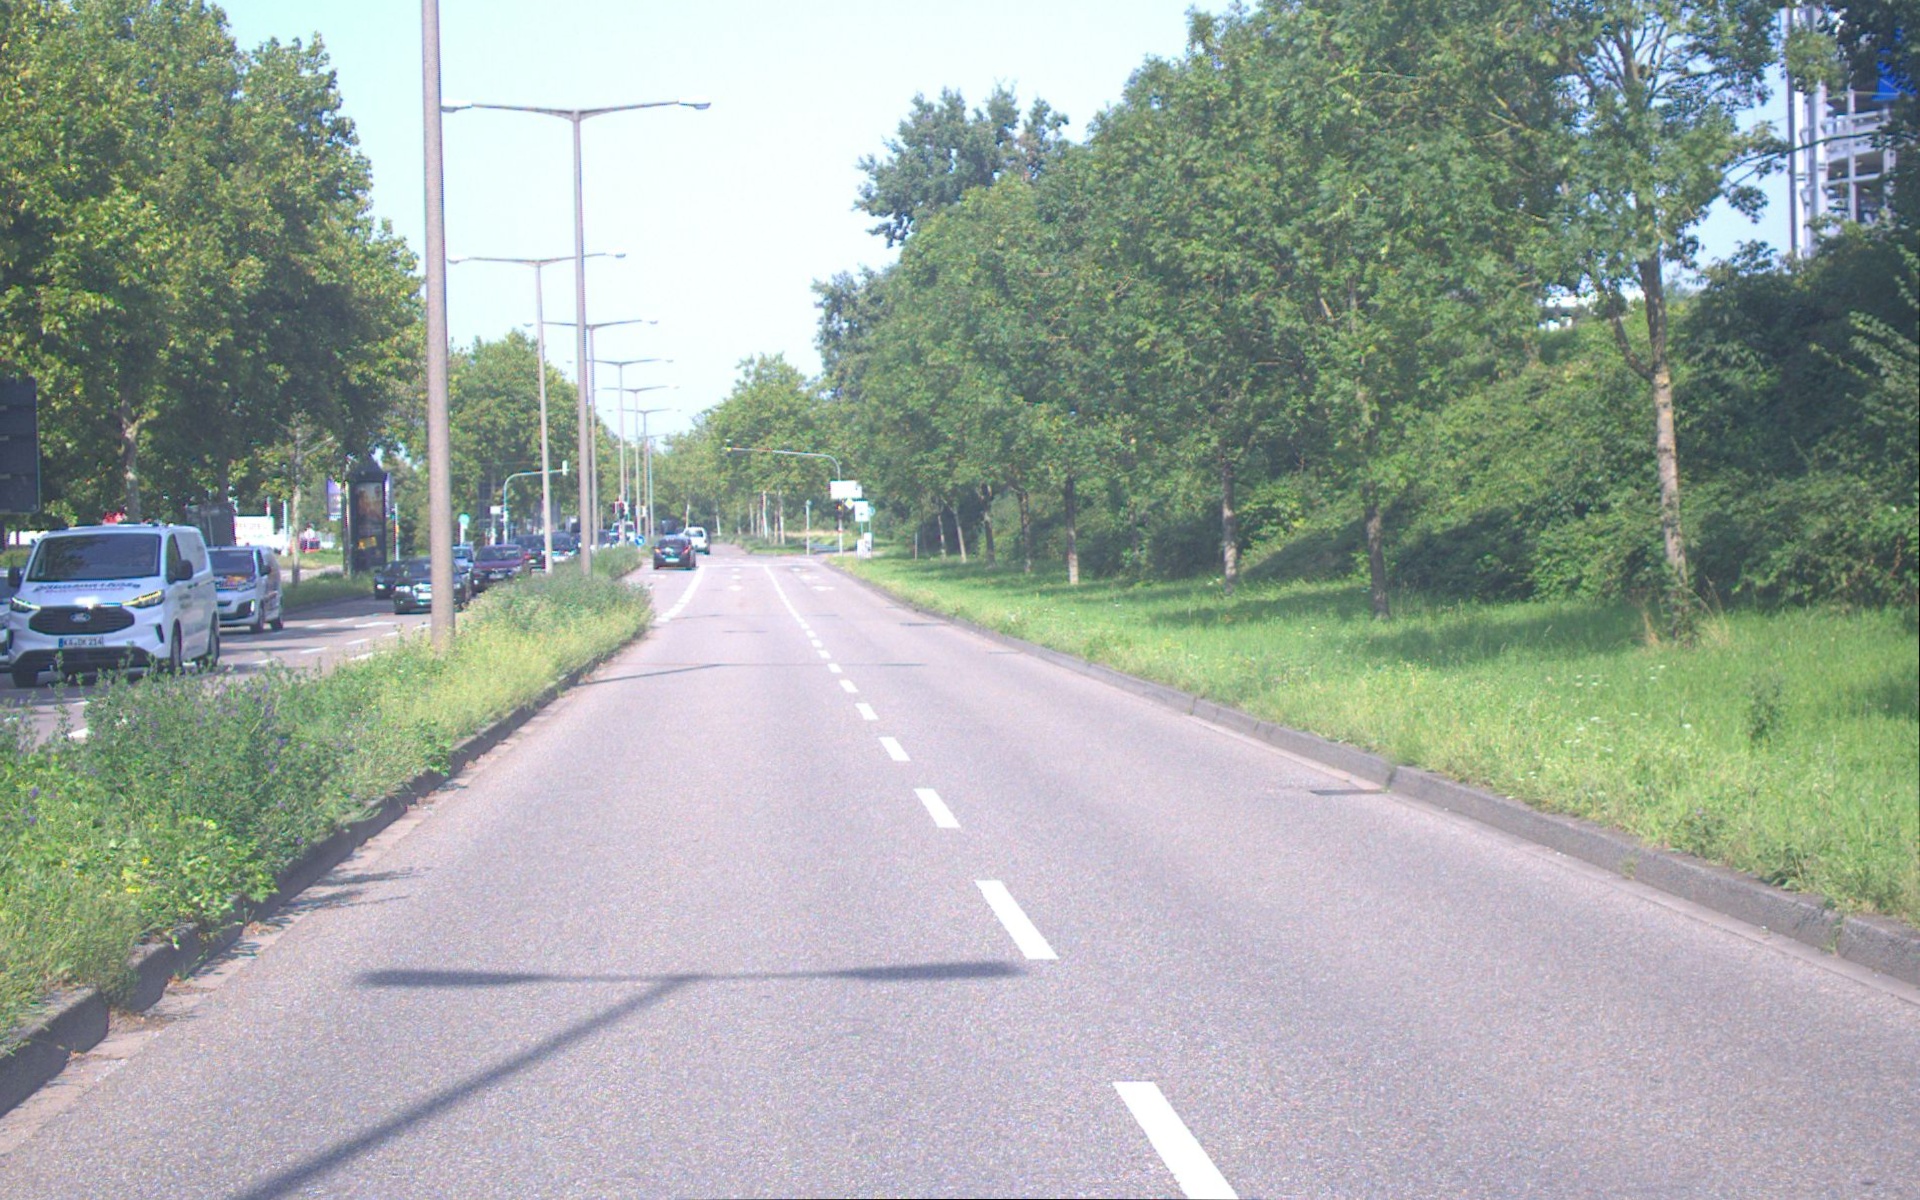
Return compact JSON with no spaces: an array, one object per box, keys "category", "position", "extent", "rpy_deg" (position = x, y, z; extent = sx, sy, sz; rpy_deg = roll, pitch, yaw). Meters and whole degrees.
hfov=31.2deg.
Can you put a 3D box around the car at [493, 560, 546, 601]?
[{"category":"car","position":[-19.963,-0.899,155.778],"extent":[1.993,1.753,4.478],"rpy_deg":[-3,1,-3]}]

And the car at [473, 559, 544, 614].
[{"category":"car","position":[-14.776,-0.465,112.644],"extent":[1.953,1.718,4.587],"rpy_deg":[-1,1,-3]}]

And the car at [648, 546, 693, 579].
[{"category":"car","position":[-13.193,-1.724,156.854],"extent":[1.692,1.481,4.000],"rpy_deg":[-1,1,0]}]

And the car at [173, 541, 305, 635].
[{"category":"car","position":[-15.420,-0.282,73.780],"extent":[1.984,1.852,4.970],"rpy_deg":[-3,1,-3]}]

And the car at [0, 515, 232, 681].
[{"category":"car","position":[-10.634,-0.063,43.670],"extent":[1.993,1.947,5.037],"rpy_deg":[-1,1,-4]}]

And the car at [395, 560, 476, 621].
[{"category":"car","position":[-13.696,-0.262,89.929],"extent":[1.746,1.474,4.587],"rpy_deg":[-3,1,-5]}]
